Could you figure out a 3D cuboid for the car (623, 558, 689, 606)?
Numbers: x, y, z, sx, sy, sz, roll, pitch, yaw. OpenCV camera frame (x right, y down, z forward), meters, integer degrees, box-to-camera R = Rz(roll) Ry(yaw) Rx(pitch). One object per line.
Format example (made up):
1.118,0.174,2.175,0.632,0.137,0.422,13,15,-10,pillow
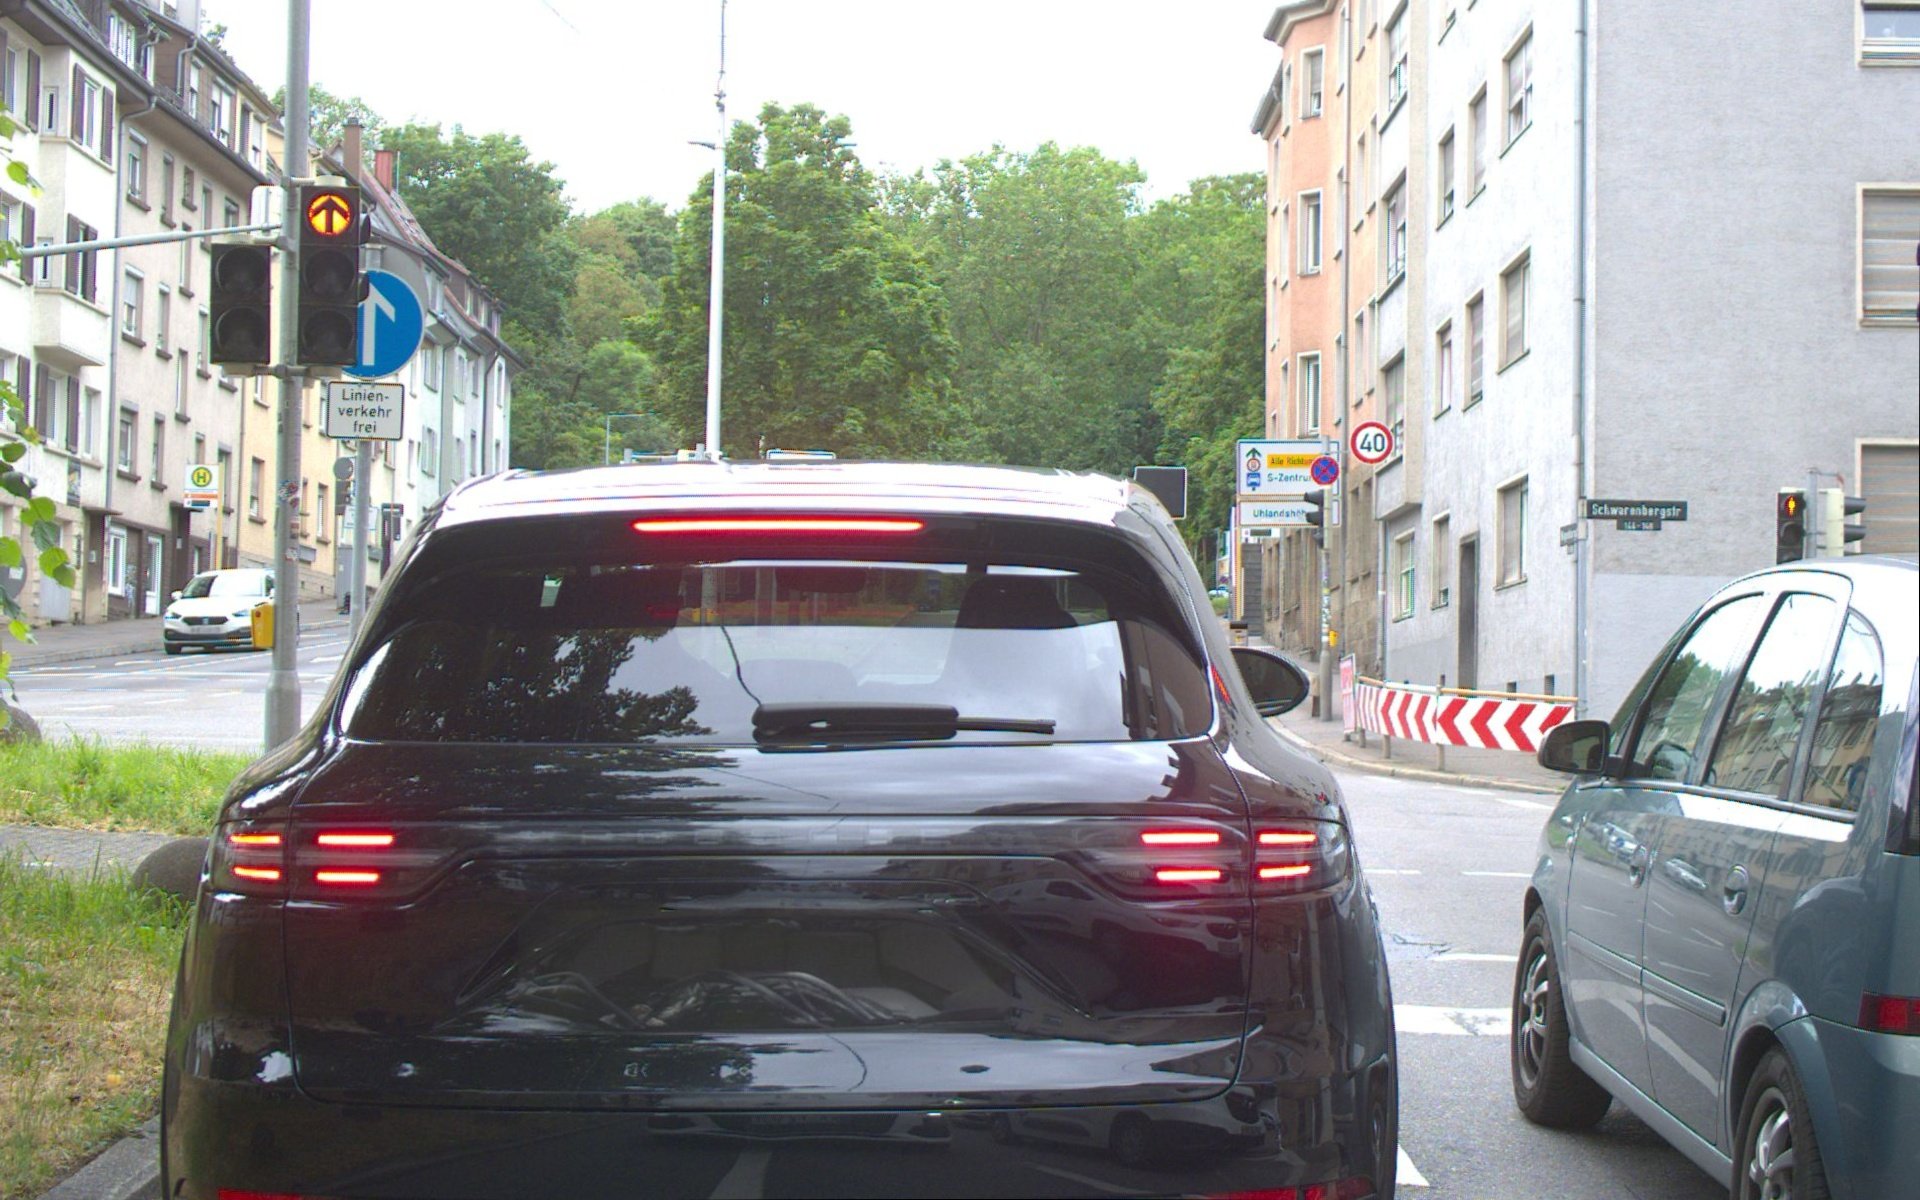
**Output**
-9.854,-0.564,111.625,1.619,1.475,3.823,1,-1,3,car

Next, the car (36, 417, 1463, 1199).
-0.311,0.565,6.723,1.955,1.669,4.000,0,1,-1,car

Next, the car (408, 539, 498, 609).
-15.376,-0.803,104.473,2.016,2.038,4.667,1,1,0,car

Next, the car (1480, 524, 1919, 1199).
2.353,0.696,7.877,1.628,1.592,3.669,4,1,-1,car

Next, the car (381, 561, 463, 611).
-15.446,-0.413,98.835,1.739,1.382,3.814,1,1,0,car

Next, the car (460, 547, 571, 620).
-10.259,-0.396,79.643,1.974,1.605,4.558,1,1,0,car

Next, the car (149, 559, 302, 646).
-13.056,0.023,61.291,1.844,1.481,3.898,1,1,0,car

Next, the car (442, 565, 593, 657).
-6.955,0.148,54.423,1.862,1.383,4.094,1,1,0,car
